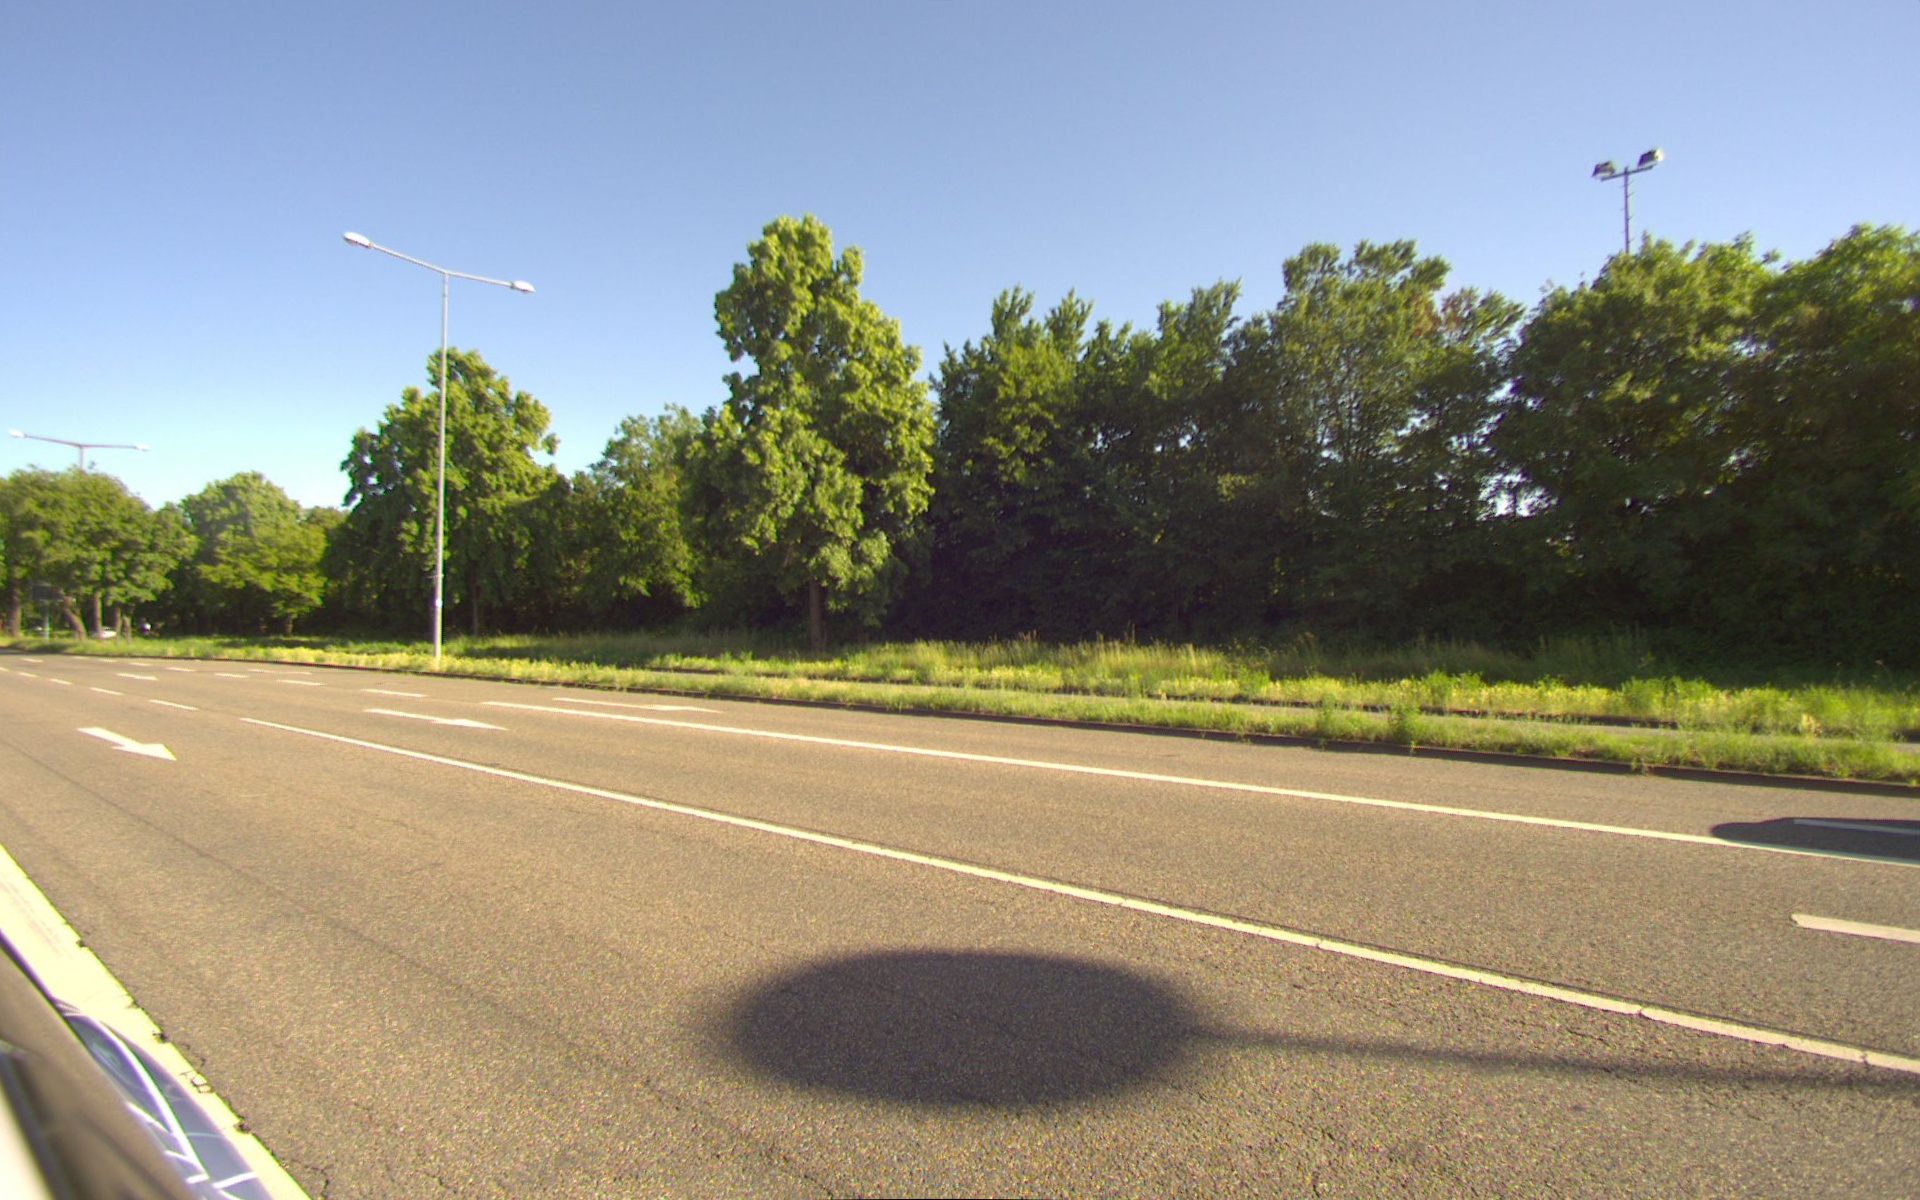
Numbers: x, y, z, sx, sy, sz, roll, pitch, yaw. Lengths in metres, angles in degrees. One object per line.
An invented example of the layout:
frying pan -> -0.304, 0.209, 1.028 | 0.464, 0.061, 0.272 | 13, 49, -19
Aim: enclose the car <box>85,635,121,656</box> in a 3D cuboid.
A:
car -> -77.301, 4.092, 91.293 | 4.406, 1.716, 1.892 | 0, 0, 42
